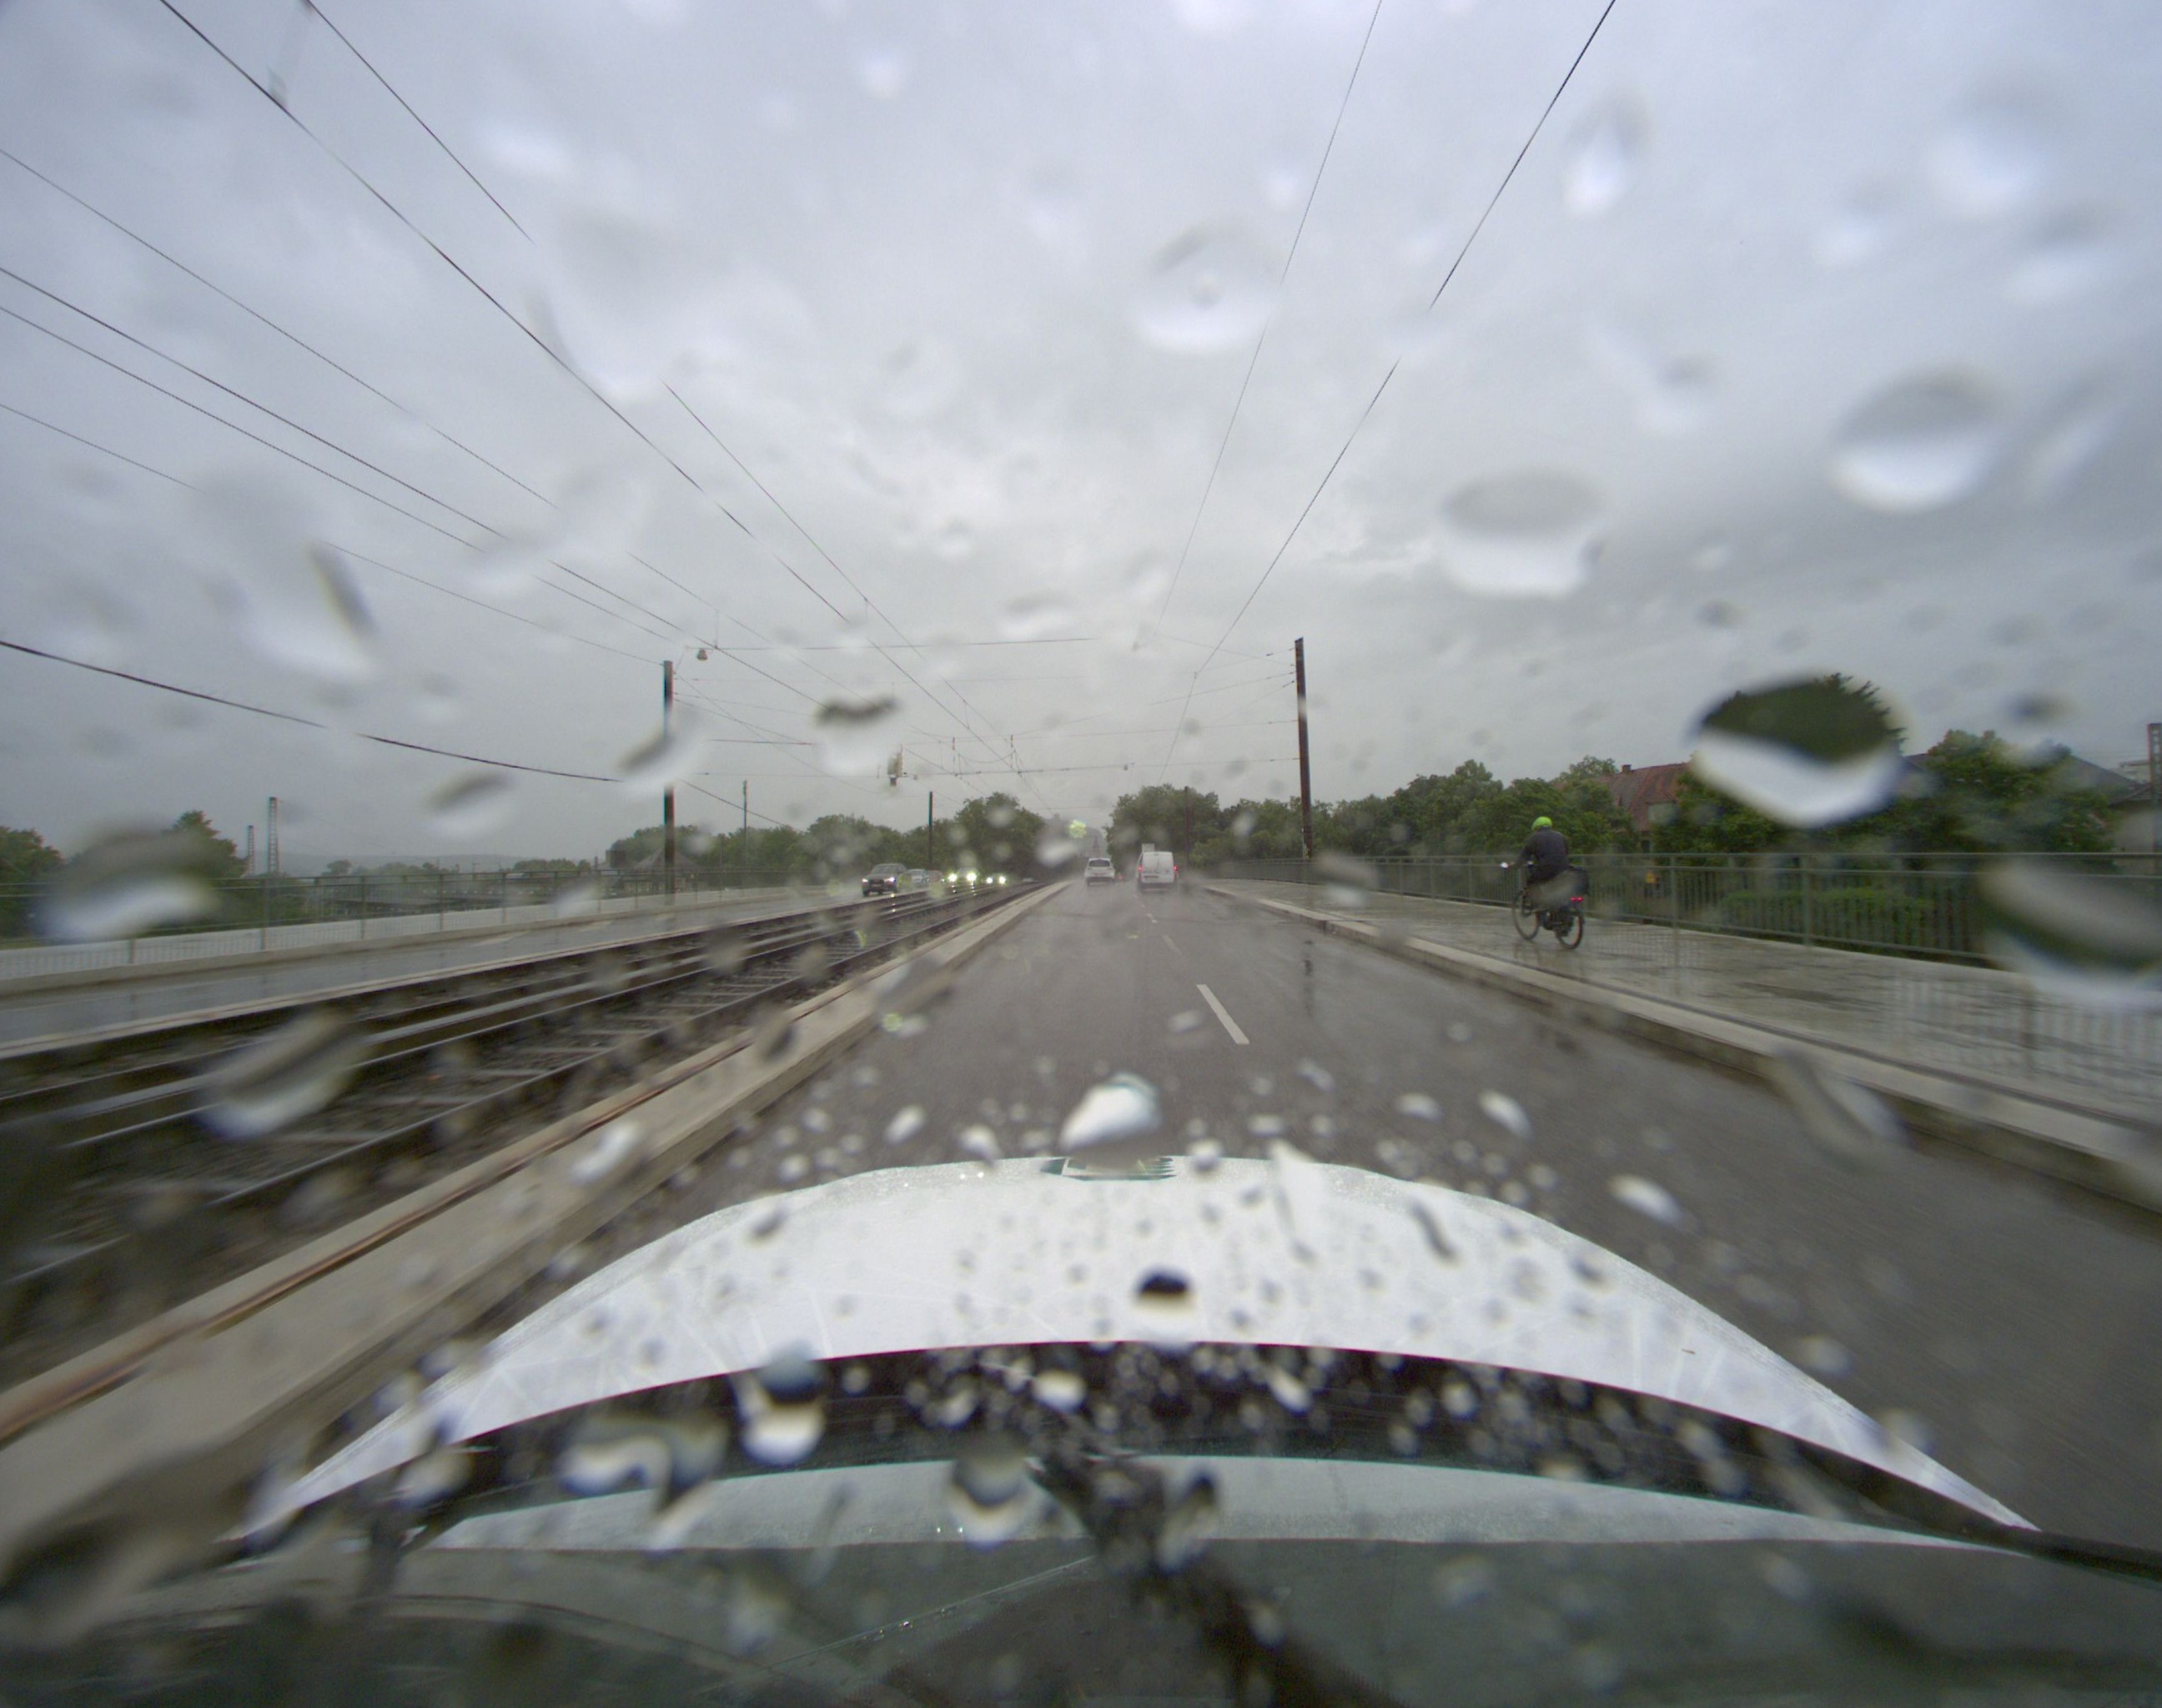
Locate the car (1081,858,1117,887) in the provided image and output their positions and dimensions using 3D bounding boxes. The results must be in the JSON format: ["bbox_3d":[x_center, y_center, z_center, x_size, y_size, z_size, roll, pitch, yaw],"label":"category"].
[{"bbox_3d":[1.160,1.144,50.075,1.985,1.717,4.003,0,-2,4],"label":"car"}]

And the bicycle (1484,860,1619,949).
[{"bbox_3d":[6.544,0.660,11.483,0.720,1.129,2.168,0,-1,2],"label":"bicycle"}]

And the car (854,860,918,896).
[{"bbox_3d":[-10.148,1.259,42.770,1.986,1.717,4.942,-3,-2,1],"label":"car"}]

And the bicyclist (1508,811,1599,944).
[{"bbox_3d":[6.565,0.324,11.358,0.723,1.764,0.949,0,-2,2],"label":"bicyclist"}]

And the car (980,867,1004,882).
[{"bbox_3d":[-9.332,2.169,85.781,1.987,1.509,4.092,-3,-2,1],"label":"car"}]

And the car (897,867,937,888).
[{"bbox_3d":[-12.732,1.836,63.445,1.987,1.456,4.620,-3,-2,1],"label":"car"}]

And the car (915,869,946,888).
[{"bbox_3d":[-12.647,2.088,68.635,1.615,1.456,4.322,-3,-2,1],"label":"car"}]

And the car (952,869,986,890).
[{"bbox_3d":[-8.891,2.066,65.052,1.988,1.509,5.111,-3,-2,-1],"label":"car"}]

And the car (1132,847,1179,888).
[{"bbox_3d":[3.288,0.655,36.558,1.985,1.726,4.003,0,-2,4],"label":"car"}]
